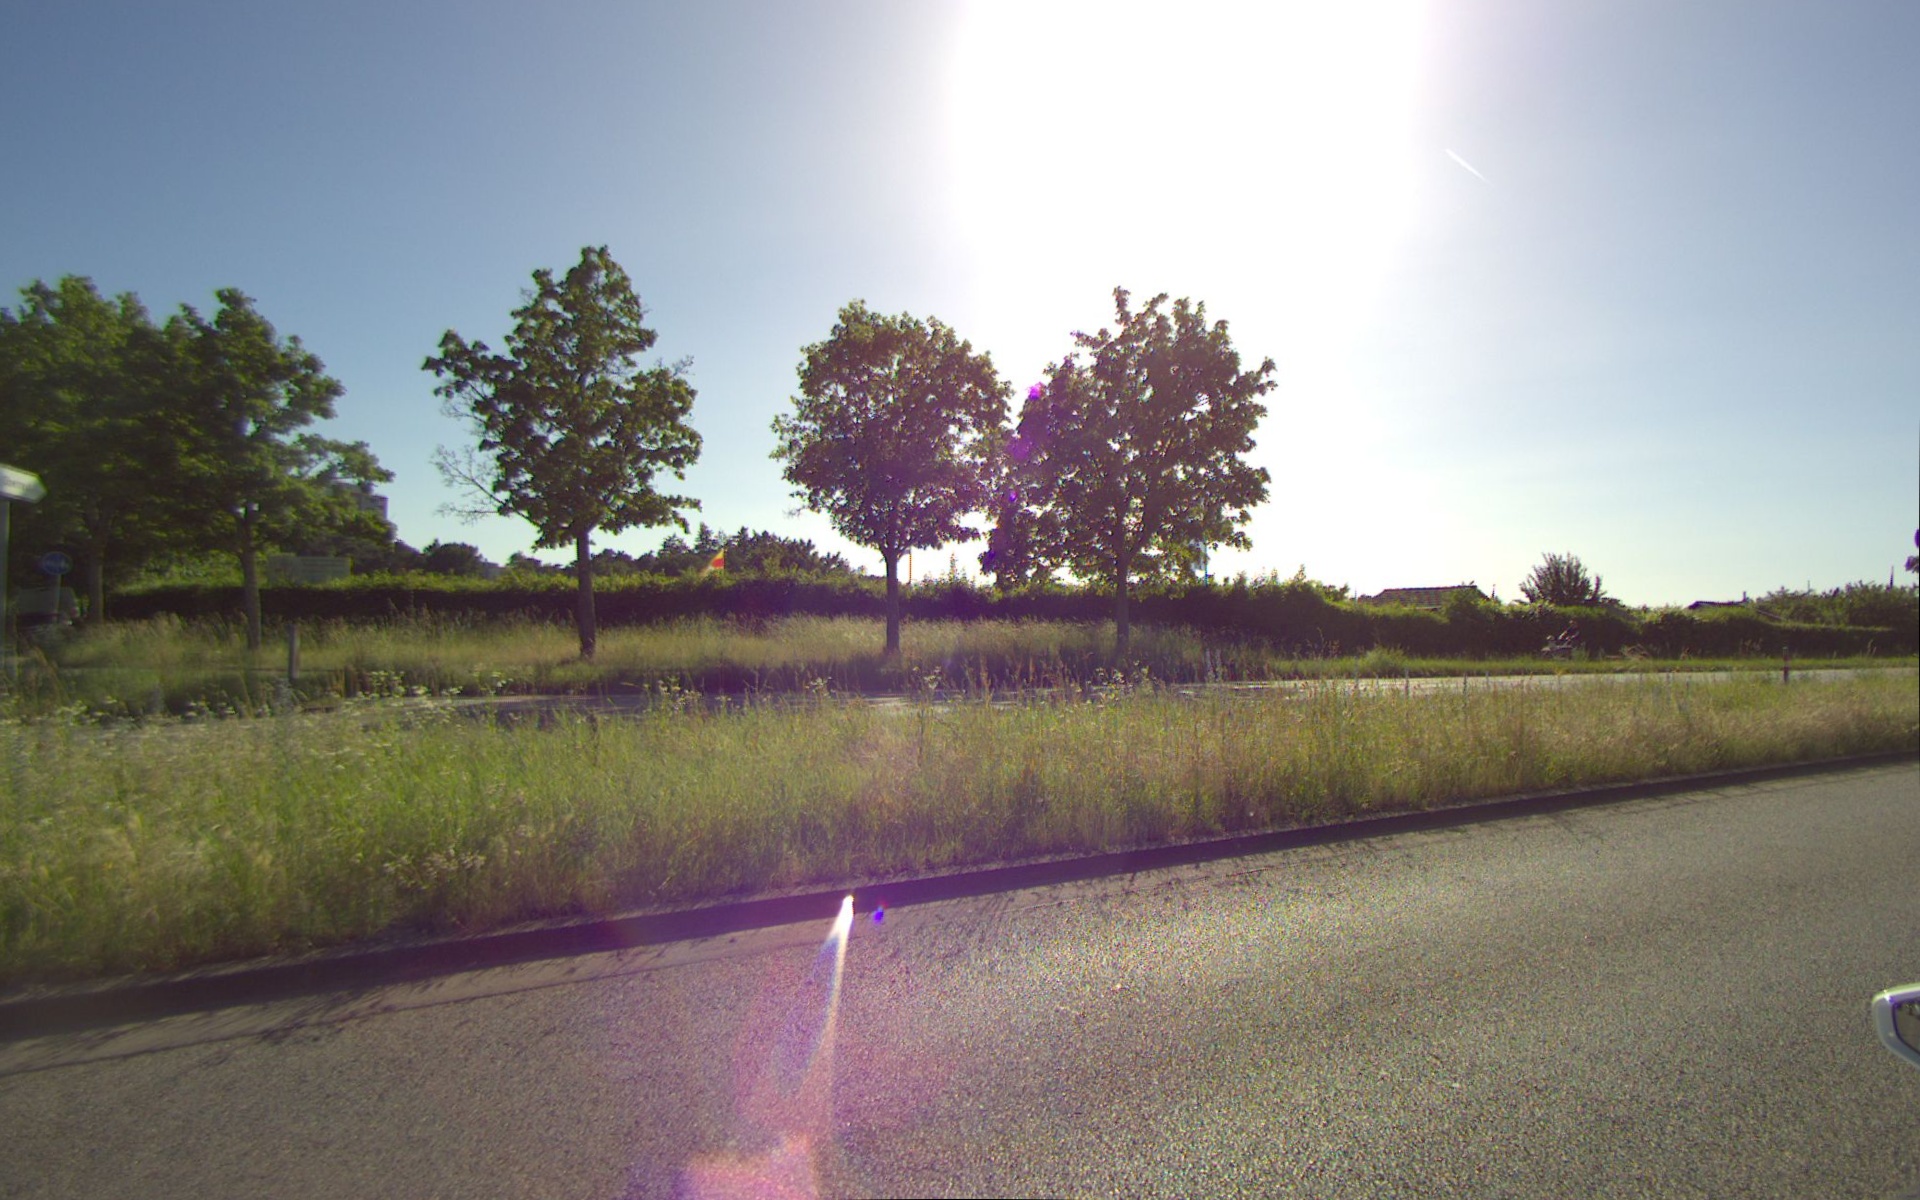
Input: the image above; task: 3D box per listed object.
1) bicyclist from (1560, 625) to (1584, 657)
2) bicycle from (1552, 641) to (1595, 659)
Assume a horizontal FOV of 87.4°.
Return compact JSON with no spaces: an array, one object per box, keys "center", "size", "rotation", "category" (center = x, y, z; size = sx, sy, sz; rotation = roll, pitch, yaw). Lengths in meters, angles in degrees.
[{"center":[25.198,1.696,41.367],"size":[0.567,1.273,0.582],"rotation":[1,0,-22],"category":"bicyclist"},{"center":[25.296,2.054,41.412],"size":[1.848,0.704,0.564],"rotation":[1,-1,-23],"category":"bicycle"}]
